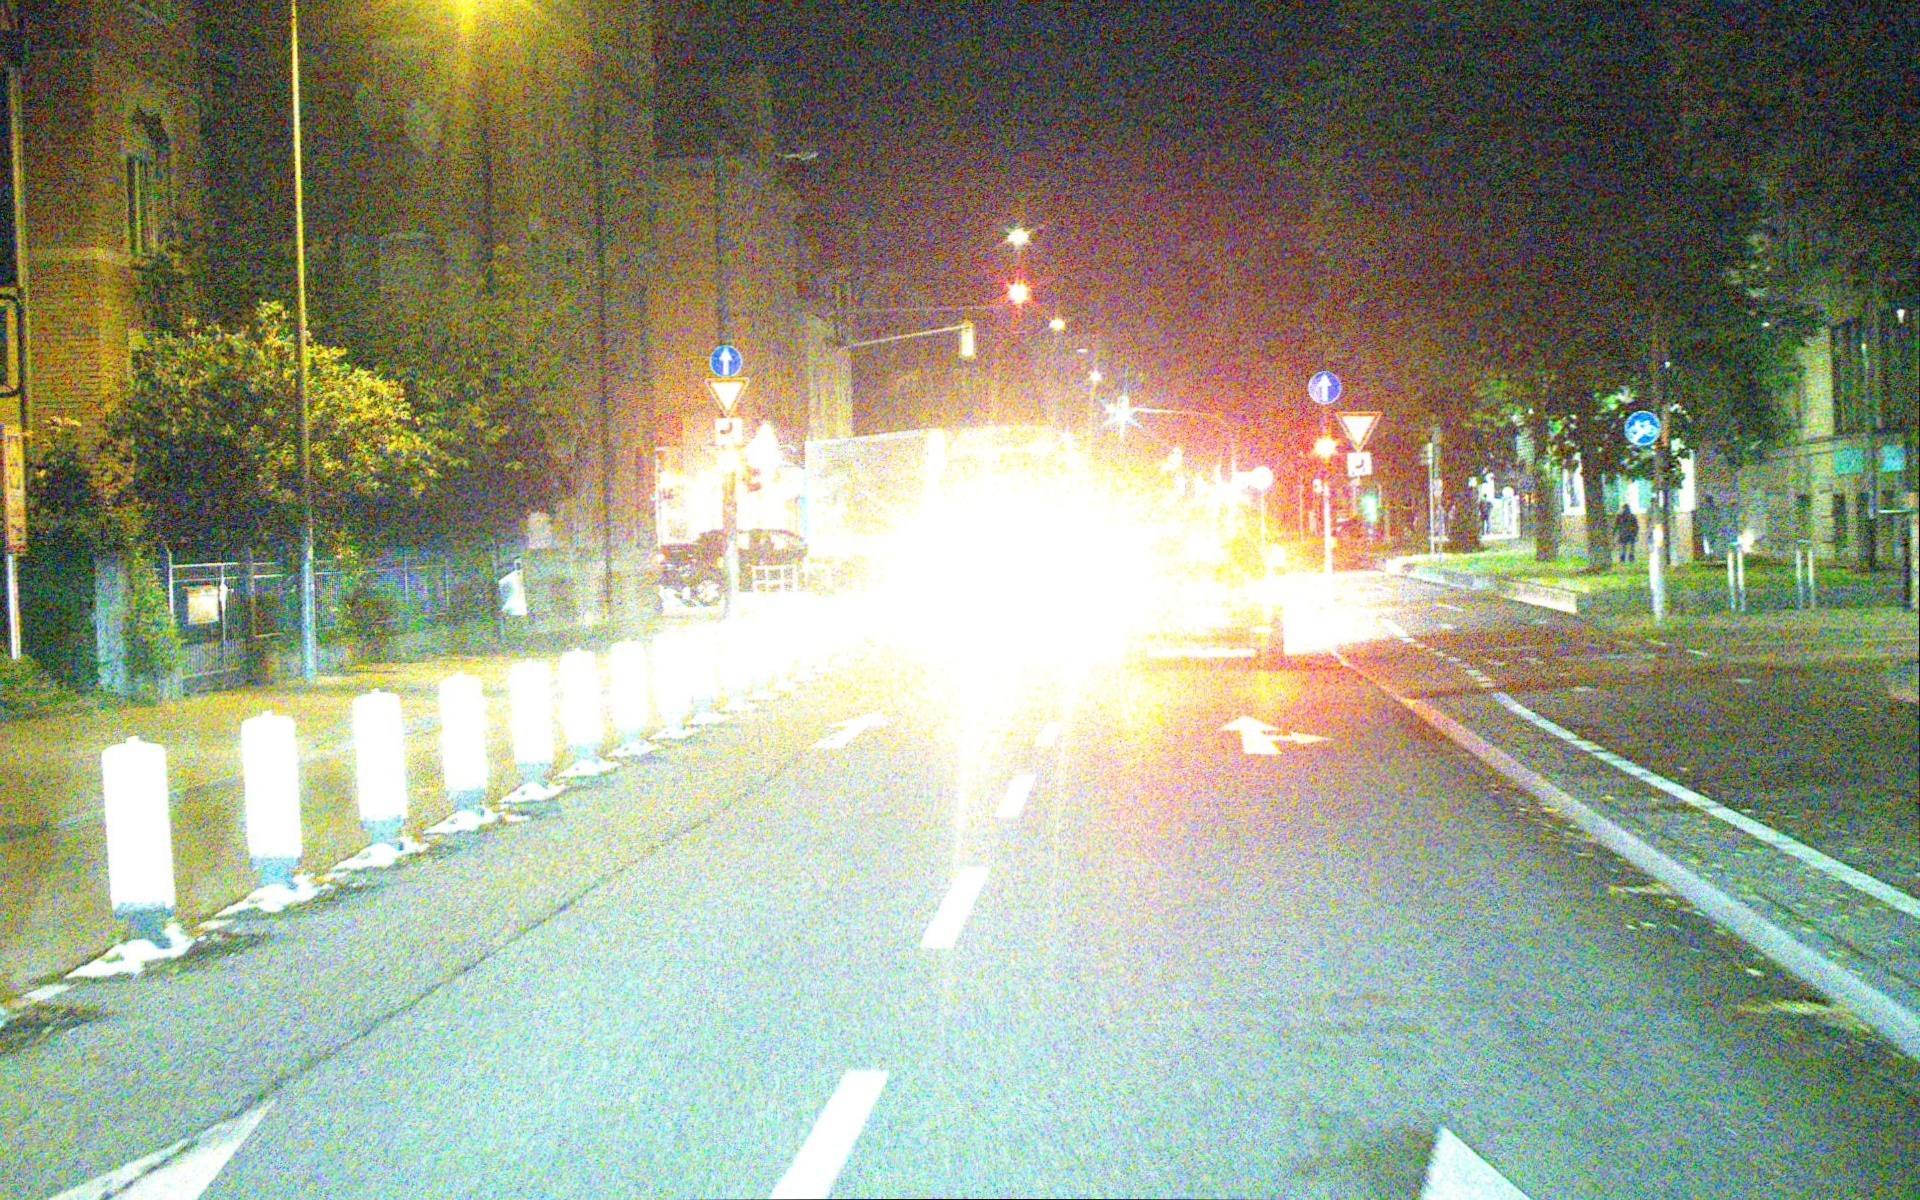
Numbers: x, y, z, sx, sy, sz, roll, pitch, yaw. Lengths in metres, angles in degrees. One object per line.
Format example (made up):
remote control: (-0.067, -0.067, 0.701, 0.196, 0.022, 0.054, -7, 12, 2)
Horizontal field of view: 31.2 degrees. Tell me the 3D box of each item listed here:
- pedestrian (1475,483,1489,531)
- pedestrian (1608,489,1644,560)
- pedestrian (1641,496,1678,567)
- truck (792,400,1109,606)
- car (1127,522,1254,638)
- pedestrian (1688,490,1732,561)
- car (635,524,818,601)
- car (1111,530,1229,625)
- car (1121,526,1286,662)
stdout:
pedestrian: (22.340, -3.970, 147.068, 0.488, 2.007, 0.551, -2, 1, 3)
pedestrian: (16.939, -1.926, 87.479, 0.714, 1.763, 0.907, -2, 1, 3)
pedestrian: (17.802, -1.747, 87.516, 0.739, 1.763, 0.907, -2, 1, 3)
truck: (-0.389, -1.819, 68.914, 2.755, 3.705, 10.115, -3, 1, -21)
car: (3.080, -0.301, 46.404, 1.637, 1.489, 4.000, 0, 1, 3)
pedestrian: (19.104, -1.896, 87.548, 0.901, 1.763, 0.907, -2, 1, 3)
car: (-5.393, -0.866, 78.975, 3.986, 1.634, 2.001, -2, 1, -9)
car: (3.240, -0.381, 53.656, 1.729, 1.430, 4.211, 0, 1, 2)
car: (2.844, -0.114, 40.226, 1.805, 1.489, 4.729, 0, 1, 4)
